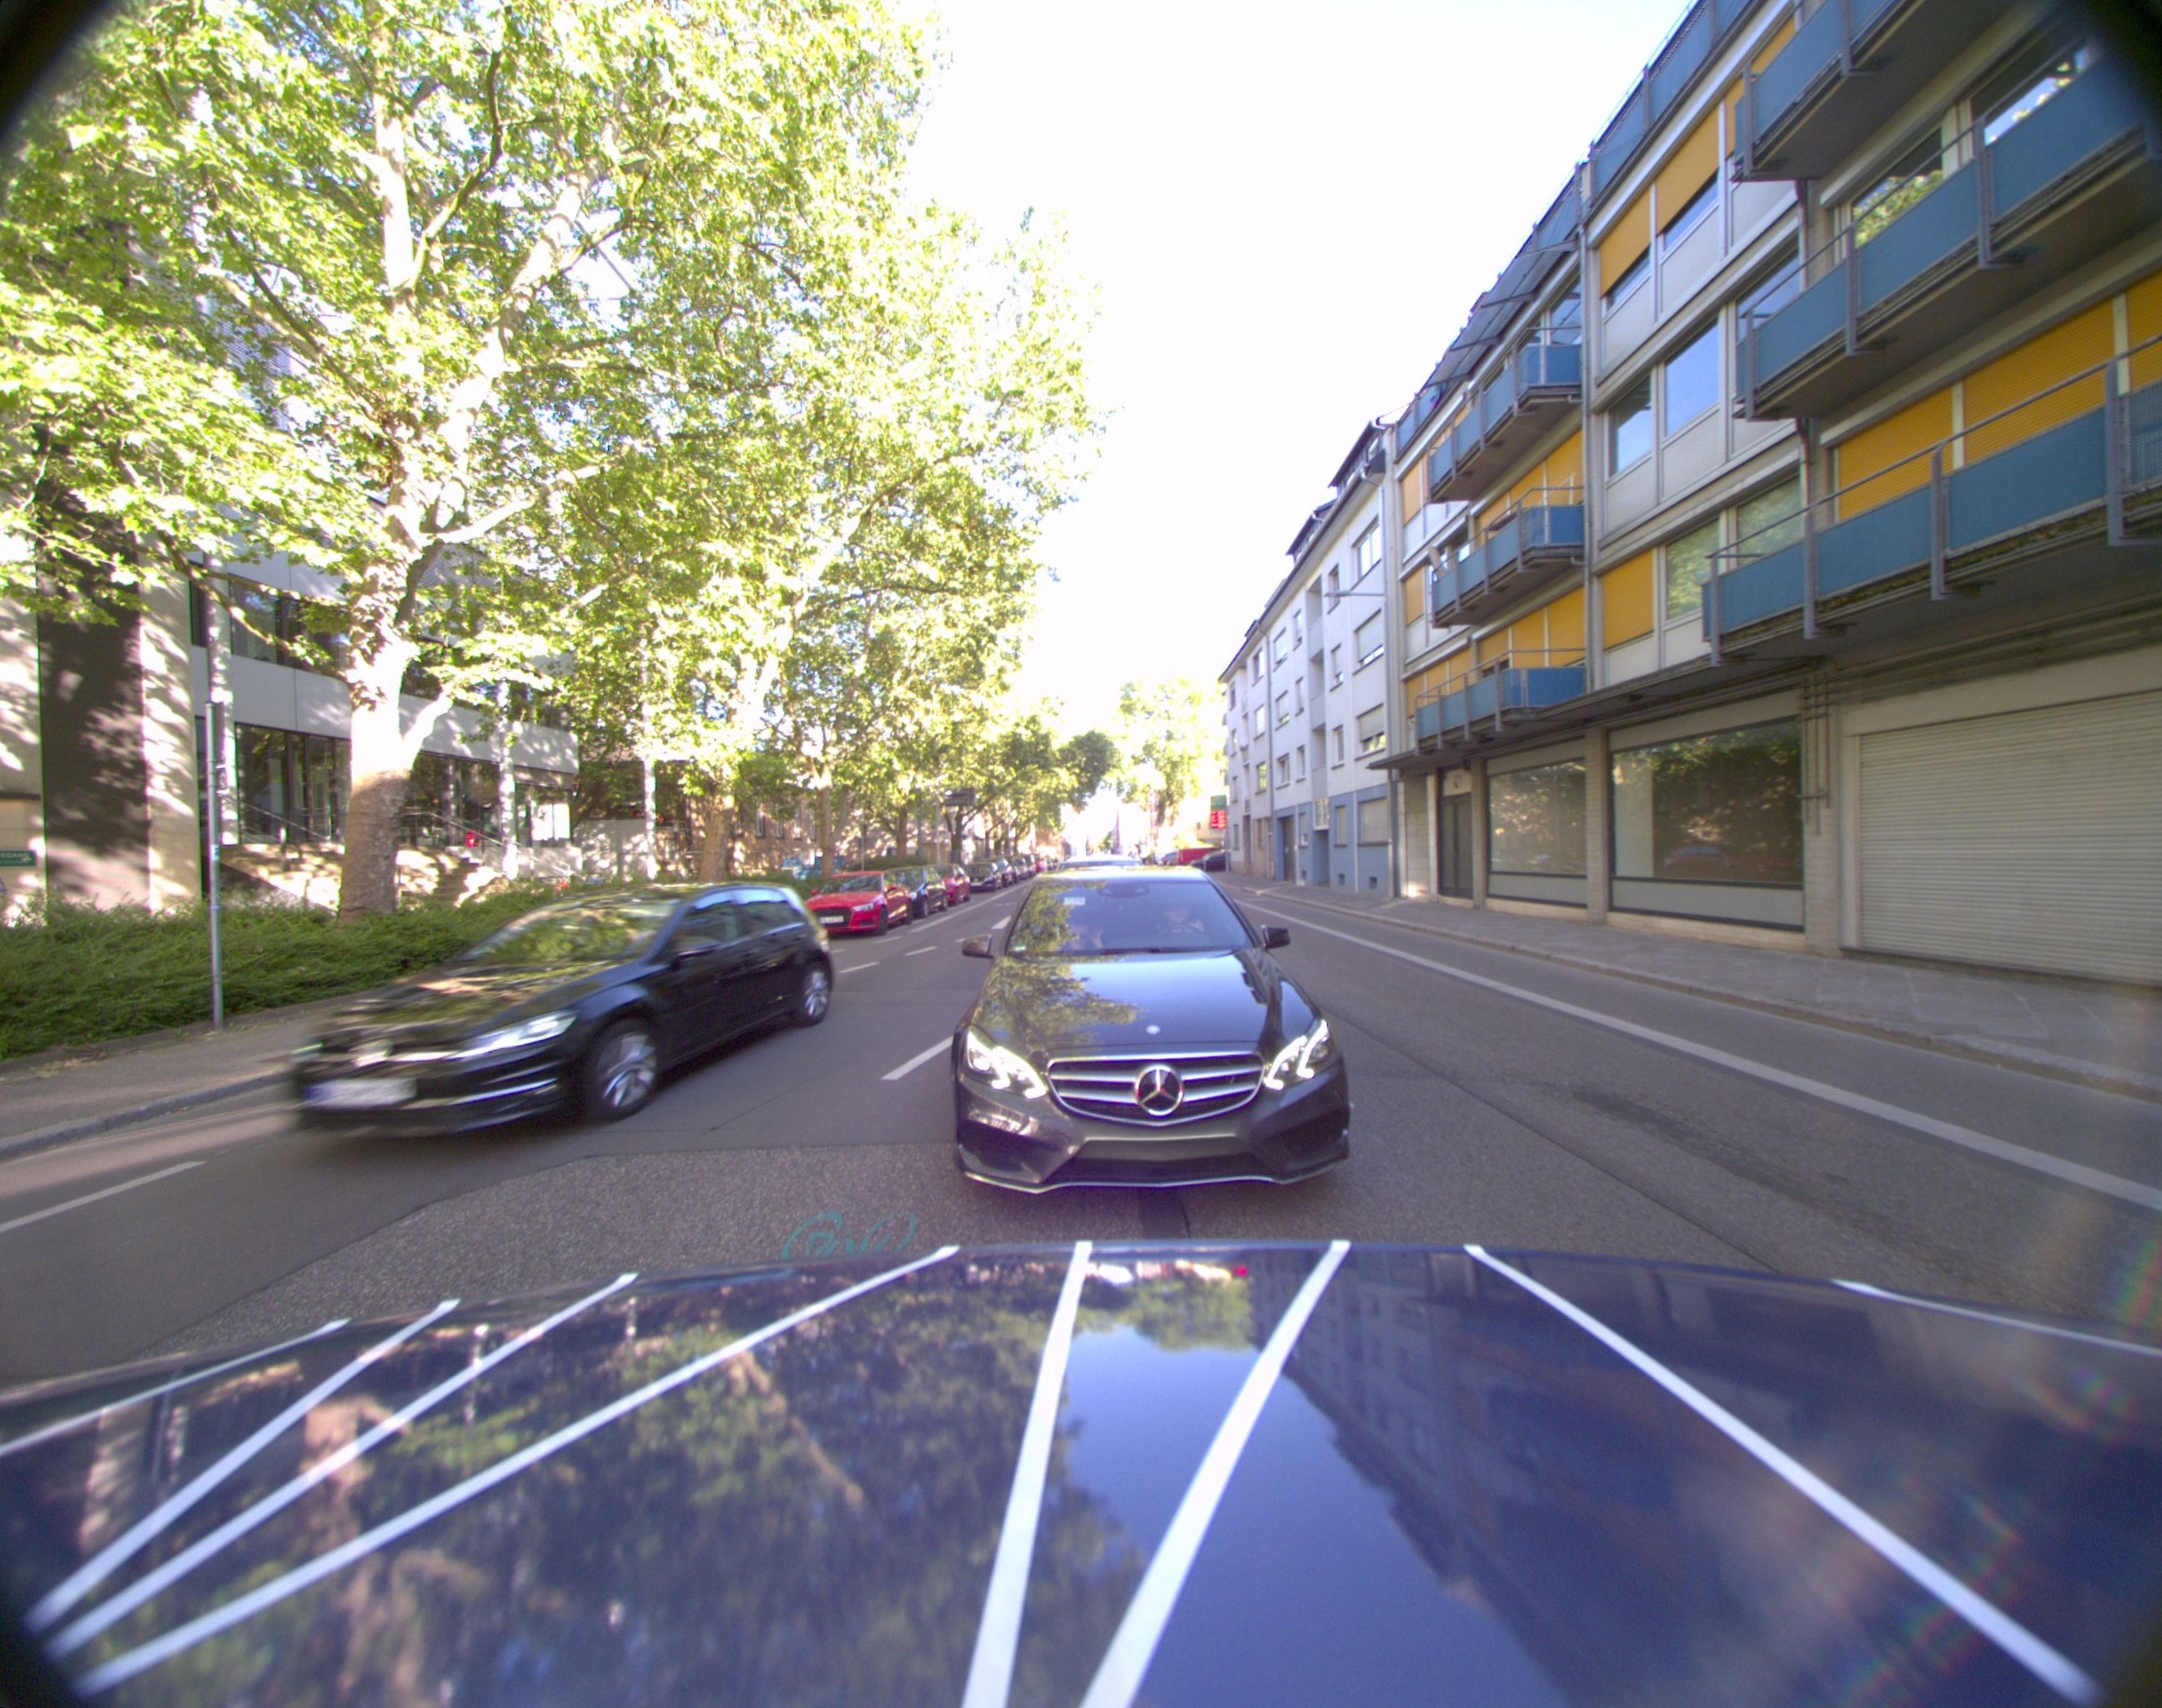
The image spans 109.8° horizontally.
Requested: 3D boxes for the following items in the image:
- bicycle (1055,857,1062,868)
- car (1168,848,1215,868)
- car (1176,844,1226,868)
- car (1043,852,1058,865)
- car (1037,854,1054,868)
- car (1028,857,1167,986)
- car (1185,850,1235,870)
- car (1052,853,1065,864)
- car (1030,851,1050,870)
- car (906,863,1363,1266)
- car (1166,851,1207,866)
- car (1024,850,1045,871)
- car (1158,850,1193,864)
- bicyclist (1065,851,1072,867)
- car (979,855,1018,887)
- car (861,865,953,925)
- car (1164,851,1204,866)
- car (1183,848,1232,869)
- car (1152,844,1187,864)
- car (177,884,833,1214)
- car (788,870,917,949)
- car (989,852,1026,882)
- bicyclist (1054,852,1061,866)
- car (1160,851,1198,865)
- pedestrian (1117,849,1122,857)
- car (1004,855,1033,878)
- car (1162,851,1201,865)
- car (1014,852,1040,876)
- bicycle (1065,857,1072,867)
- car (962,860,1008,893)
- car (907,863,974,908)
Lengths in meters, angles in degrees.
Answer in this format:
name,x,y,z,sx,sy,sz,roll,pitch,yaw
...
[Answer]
name,x,y,z,sx,sy,sz,roll,pitch,yaw
bicycle,-2.514,0.959,84.236,0.667,1.093,1.814,-2,1,0
car,9.719,0.329,66.769,3.905,1.577,1.603,-2,1,2
car,10.078,0.164,63.974,3.905,1.895,1.749,-2,1,2
car,-3.788,0.598,95.680,1.686,1.546,3.836,-2,0,0
car,-4.049,0.746,87.057,1.639,1.493,3.752,-2,0,0
car,0.209,0.878,11.929,1.732,1.538,4.293,-2,1,0
car,9.963,0.456,58.724,3.598,1.401,1.534,-2,0,2
car,-3.126,0.650,106.822,1.686,1.475,3.836,-2,0,0
car,-4.095,0.636,76.011,1.686,1.749,3.836,-2,0,0
car,0.218,0.896,5.277,1.828,1.495,4.293,-2,1,0
car,10.376,0.450,74.960,3.905,1.366,1.594,-2,1,2
car,-4.248,0.590,70.220,1.646,1.839,3.836,-2,0,0
car,10.544,0.331,84.810,3.782,1.432,1.539,-2,1,2
bicyclist,-1.415,0.538,84.585,0.756,1.714,0.768,-2,1,-1
car,-4.533,0.908,42.057,1.686,1.610,3.836,-2,0,0
car,-5.008,1.129,22.413,1.686,1.458,4.000,-3,0,0
car,10.407,0.427,76.982,3.905,1.366,1.594,-2,1,2
car,10.132,0.355,61.129,3.668,1.501,1.602,-2,1,2
car,10.404,0.023,89.303,3.905,2.164,1.725,-2,1,2
car,-3.556,1.077,5.757,1.693,1.432,3.903,-3,0,6
car,-5.126,1.190,17.654,1.724,1.412,4.030,-4,0,-1
car,-4.590,0.773,48.183,1.819,1.758,4.431,-2,0,0
bicyclist,-2.577,0.580,84.259,0.756,1.512,0.768,-2,1,-1
car,10.532,0.399,82.125,3.905,1.325,1.525,-2,1,2
pedestrian,10.323,-0.286,202.061,0.882,2.108,0.822,-1,1,32
car,-4.422,0.876,54.506,1.686,1.552,3.868,-2,0,0
car,10.523,0.426,79.736,3.905,1.325,1.525,-2,1,2
car,-4.213,0.754,59.363,1.663,1.704,3.836,-2,0,0
bicycle,-1.368,0.914,84.588,0.667,1.093,1.814,-2,1,0
car,-4.661,1.048,37.398,1.686,1.443,4.000,-2,0,0
car,-5.005,1.095,27.598,1.666,1.426,3.781,-2,0,0
